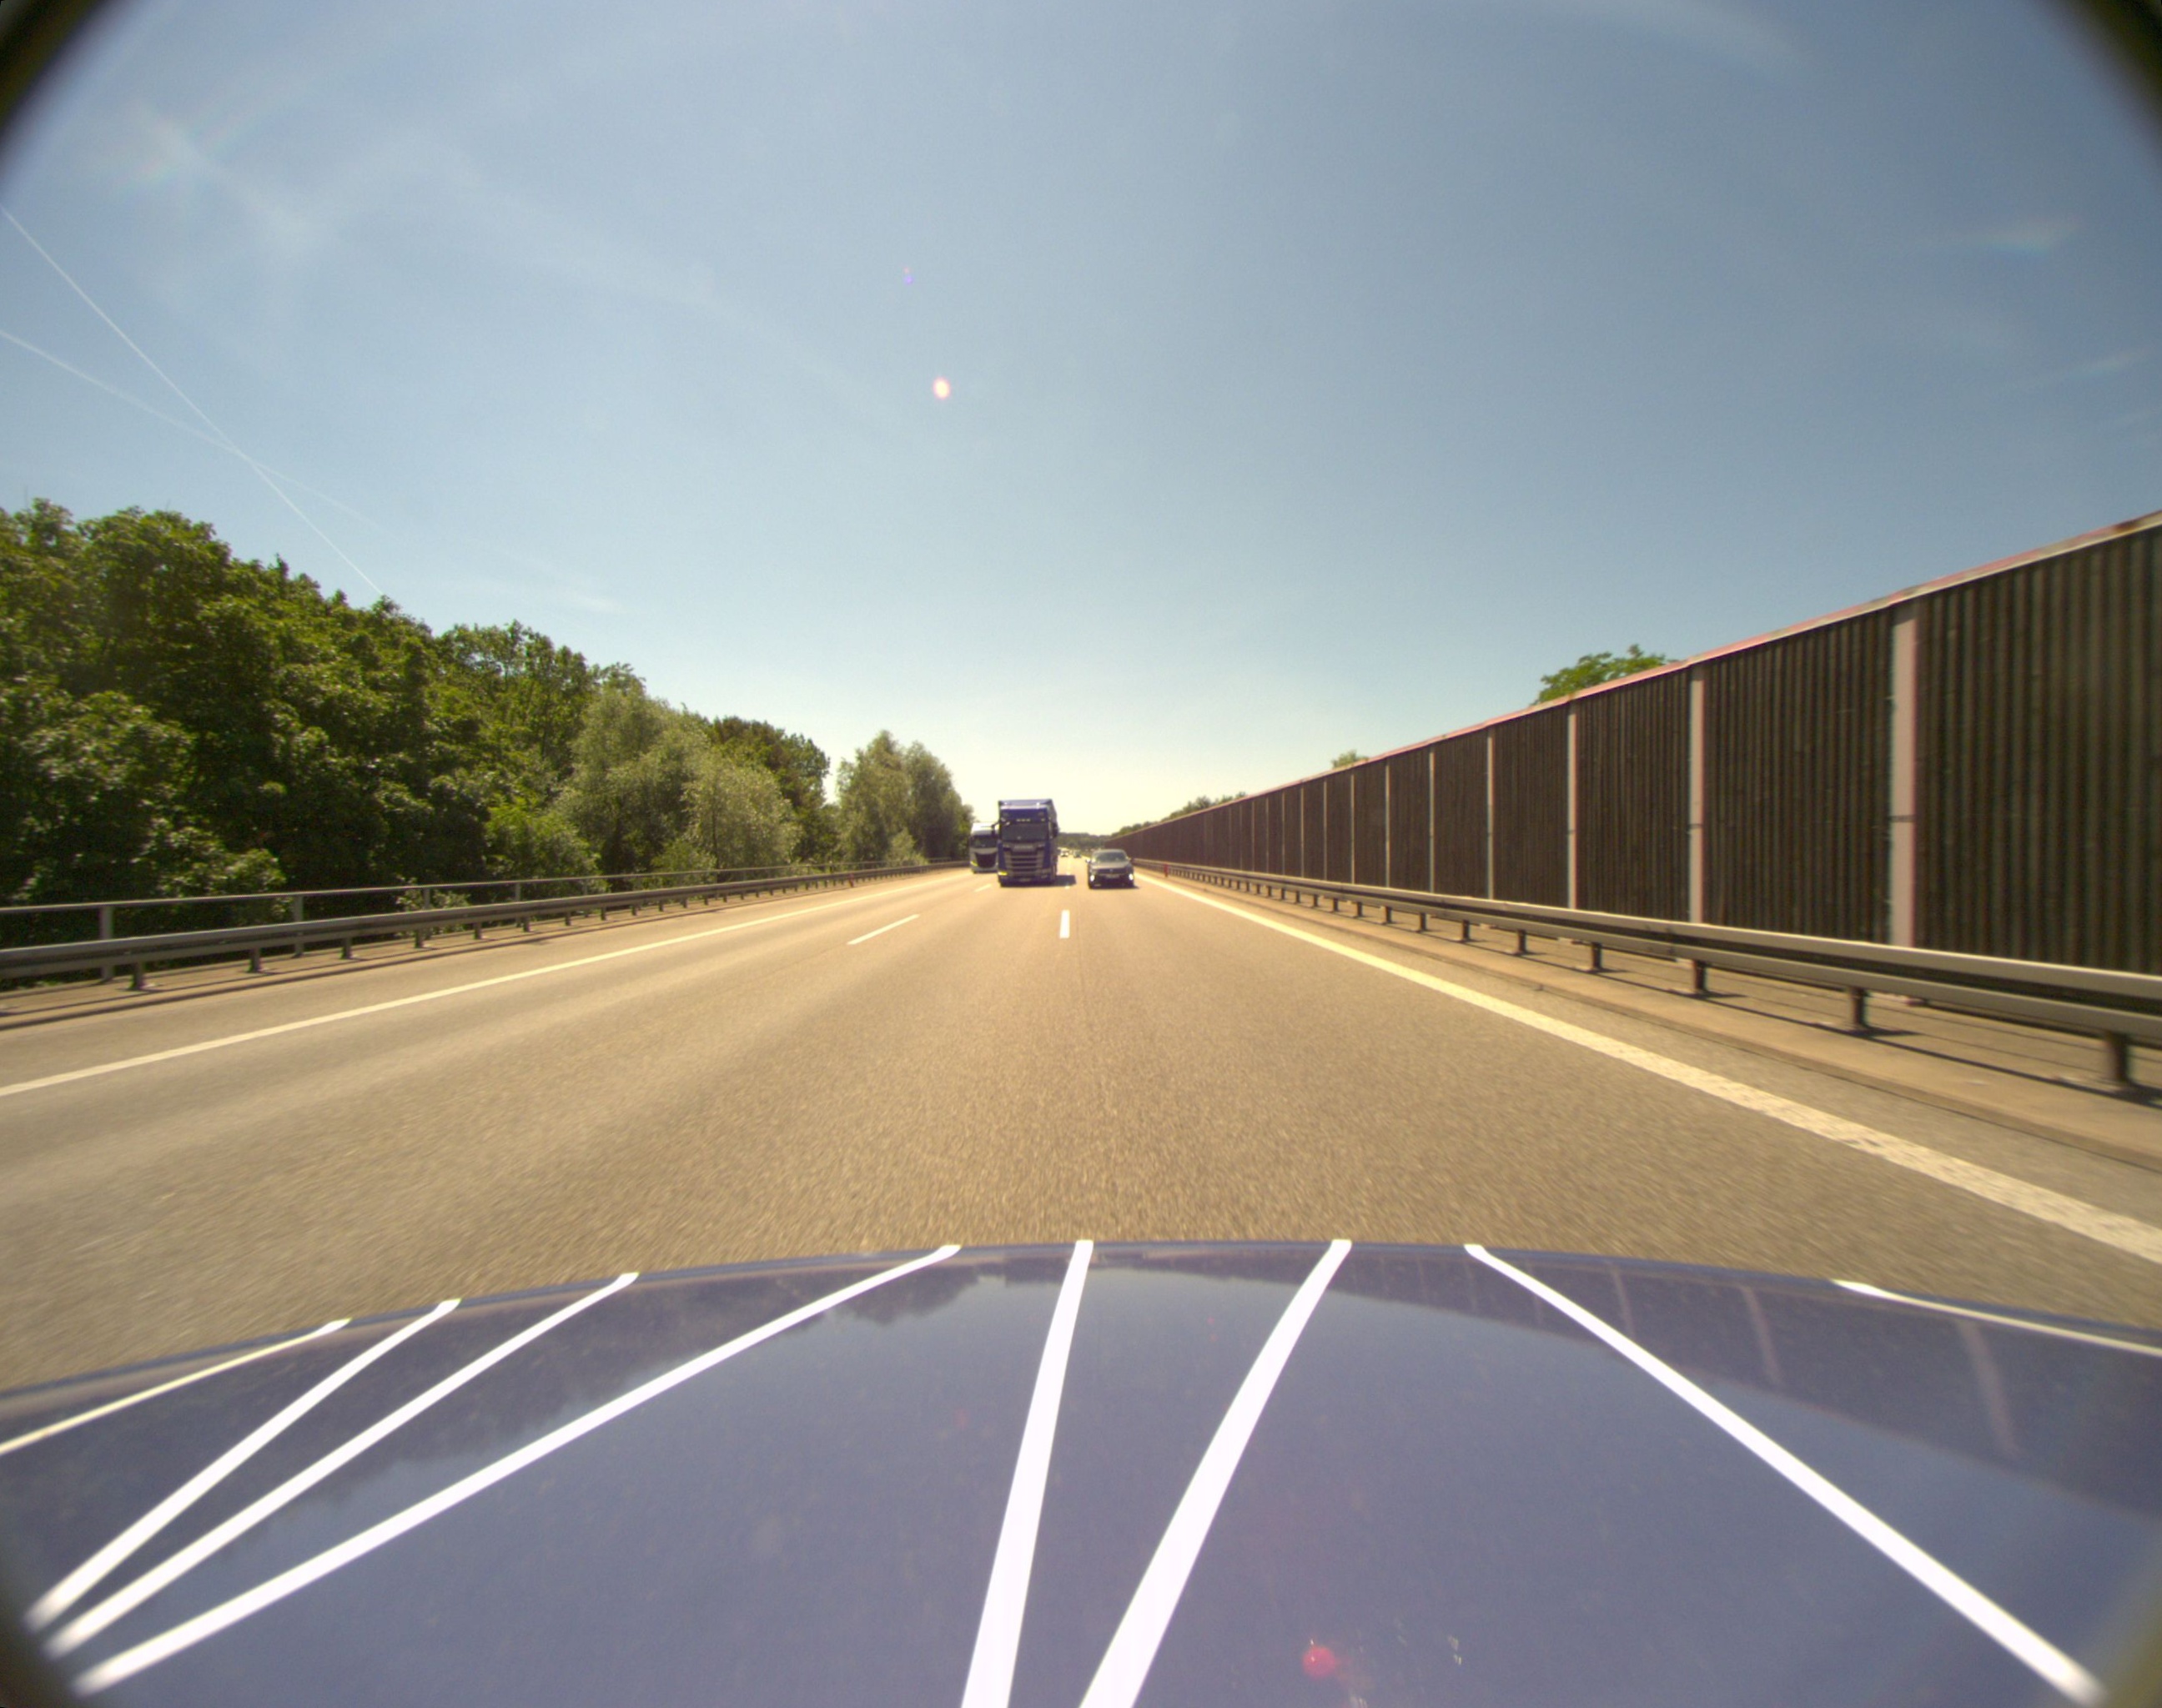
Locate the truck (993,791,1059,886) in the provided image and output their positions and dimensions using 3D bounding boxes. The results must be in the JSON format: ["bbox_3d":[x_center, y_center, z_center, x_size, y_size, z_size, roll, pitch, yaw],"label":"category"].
[{"bbox_3d":[-2.535,-0.720,37.177,2.707,4.094,6.989,-2,1,-1],"label":"truck"}]

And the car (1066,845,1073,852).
[{"bbox_3d":[-3.380,-1.569,223.858,1.999,2.002,3.999,-2,1,-2],"label":"car"}]

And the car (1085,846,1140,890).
[{"bbox_3d":[1.207,0.530,31.336,1.885,1.630,5.007,-2,0,-2],"label":"car"}]

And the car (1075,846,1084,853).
[{"bbox_3d":[-0.327,-1.101,181.382,1.998,1.717,4.000,-2,1,1],"label":"car"}]

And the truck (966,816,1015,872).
[{"bbox_3d":[-7.299,-0.785,62.719,2.820,4.139,10.446,-2,1,-1],"label":"truck"}]

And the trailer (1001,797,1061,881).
[{"bbox_3d":[-2.647,-0.796,44.266,2.707,4.094,12.129,-2,1,-1],"label":"trailer"}]
